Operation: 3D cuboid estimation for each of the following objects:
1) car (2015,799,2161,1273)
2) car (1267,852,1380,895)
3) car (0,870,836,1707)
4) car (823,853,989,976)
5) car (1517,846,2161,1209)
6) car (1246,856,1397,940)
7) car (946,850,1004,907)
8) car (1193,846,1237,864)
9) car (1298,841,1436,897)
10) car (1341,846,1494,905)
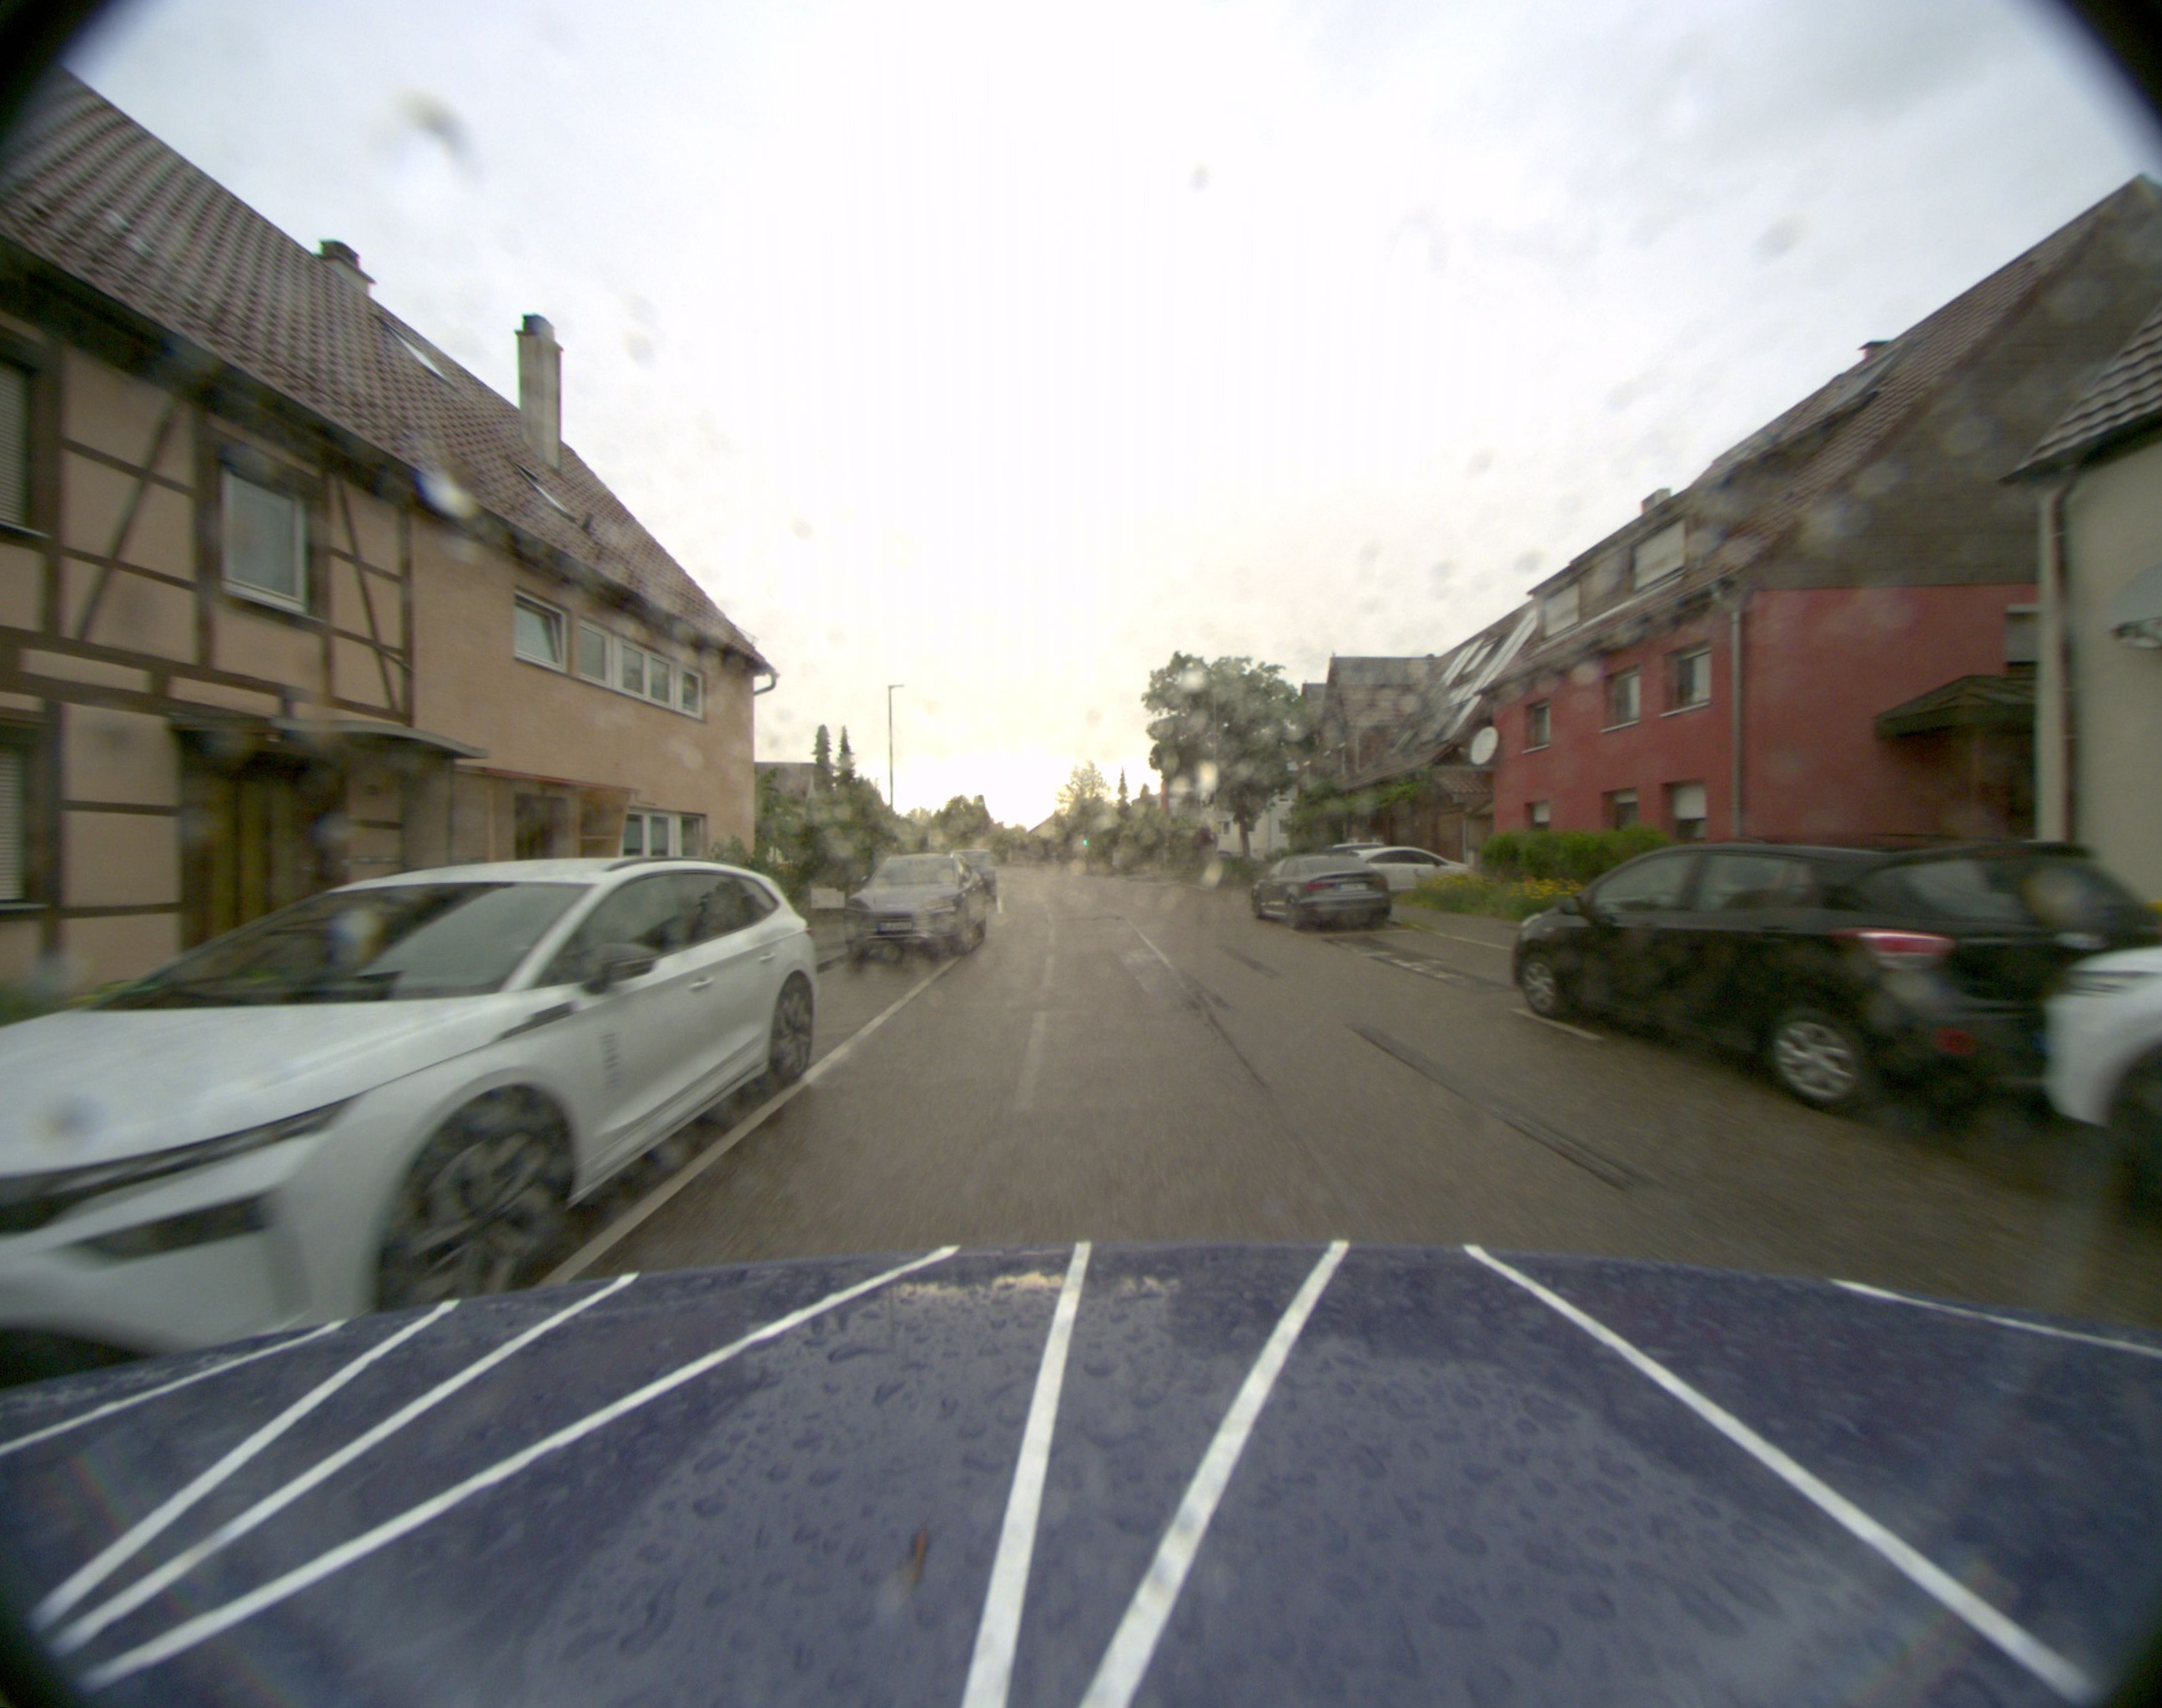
[{"bbox_3d":[4.610,0.625,0.665,1.769,1.610,4.655,0,0,-2],"label":"car"},{"bbox_3d":[8.402,0.654,26.490,3.454,1.410,1.632,0,1,2],"label":"car"},{"bbox_3d":[-2.891,0.951,3.704,1.807,1.586,4.611,-2,0,1],"label":"car"},{"bbox_3d":[-2.865,0.890,13.509,1.914,1.707,4.554,-3,0,-1],"label":"car"},{"bbox_3d":[4.643,0.762,5.031,1.609,1.608,3.275,0,1,-1],"label":"car"},{"bbox_3d":[4.672,0.780,15.399,1.631,1.348,4.110,-3,0,-1],"label":"car"},{"bbox_3d":[-4.119,0.847,29.124,1.937,1.891,4.789,-2,1,-9],"label":"car"},{"bbox_3d":[10.885,0.070,61.847,1.780,1.413,3.619,-1,1,-24],"label":"car"},{"bbox_3d":[8.806,0.445,23.618,3.583,1.497,1.856,-3,0,4],"label":"car"},{"bbox_3d":[9.158,0.570,20.860,3.469,1.470,1.591,-2,0,2],"label":"car"}]
